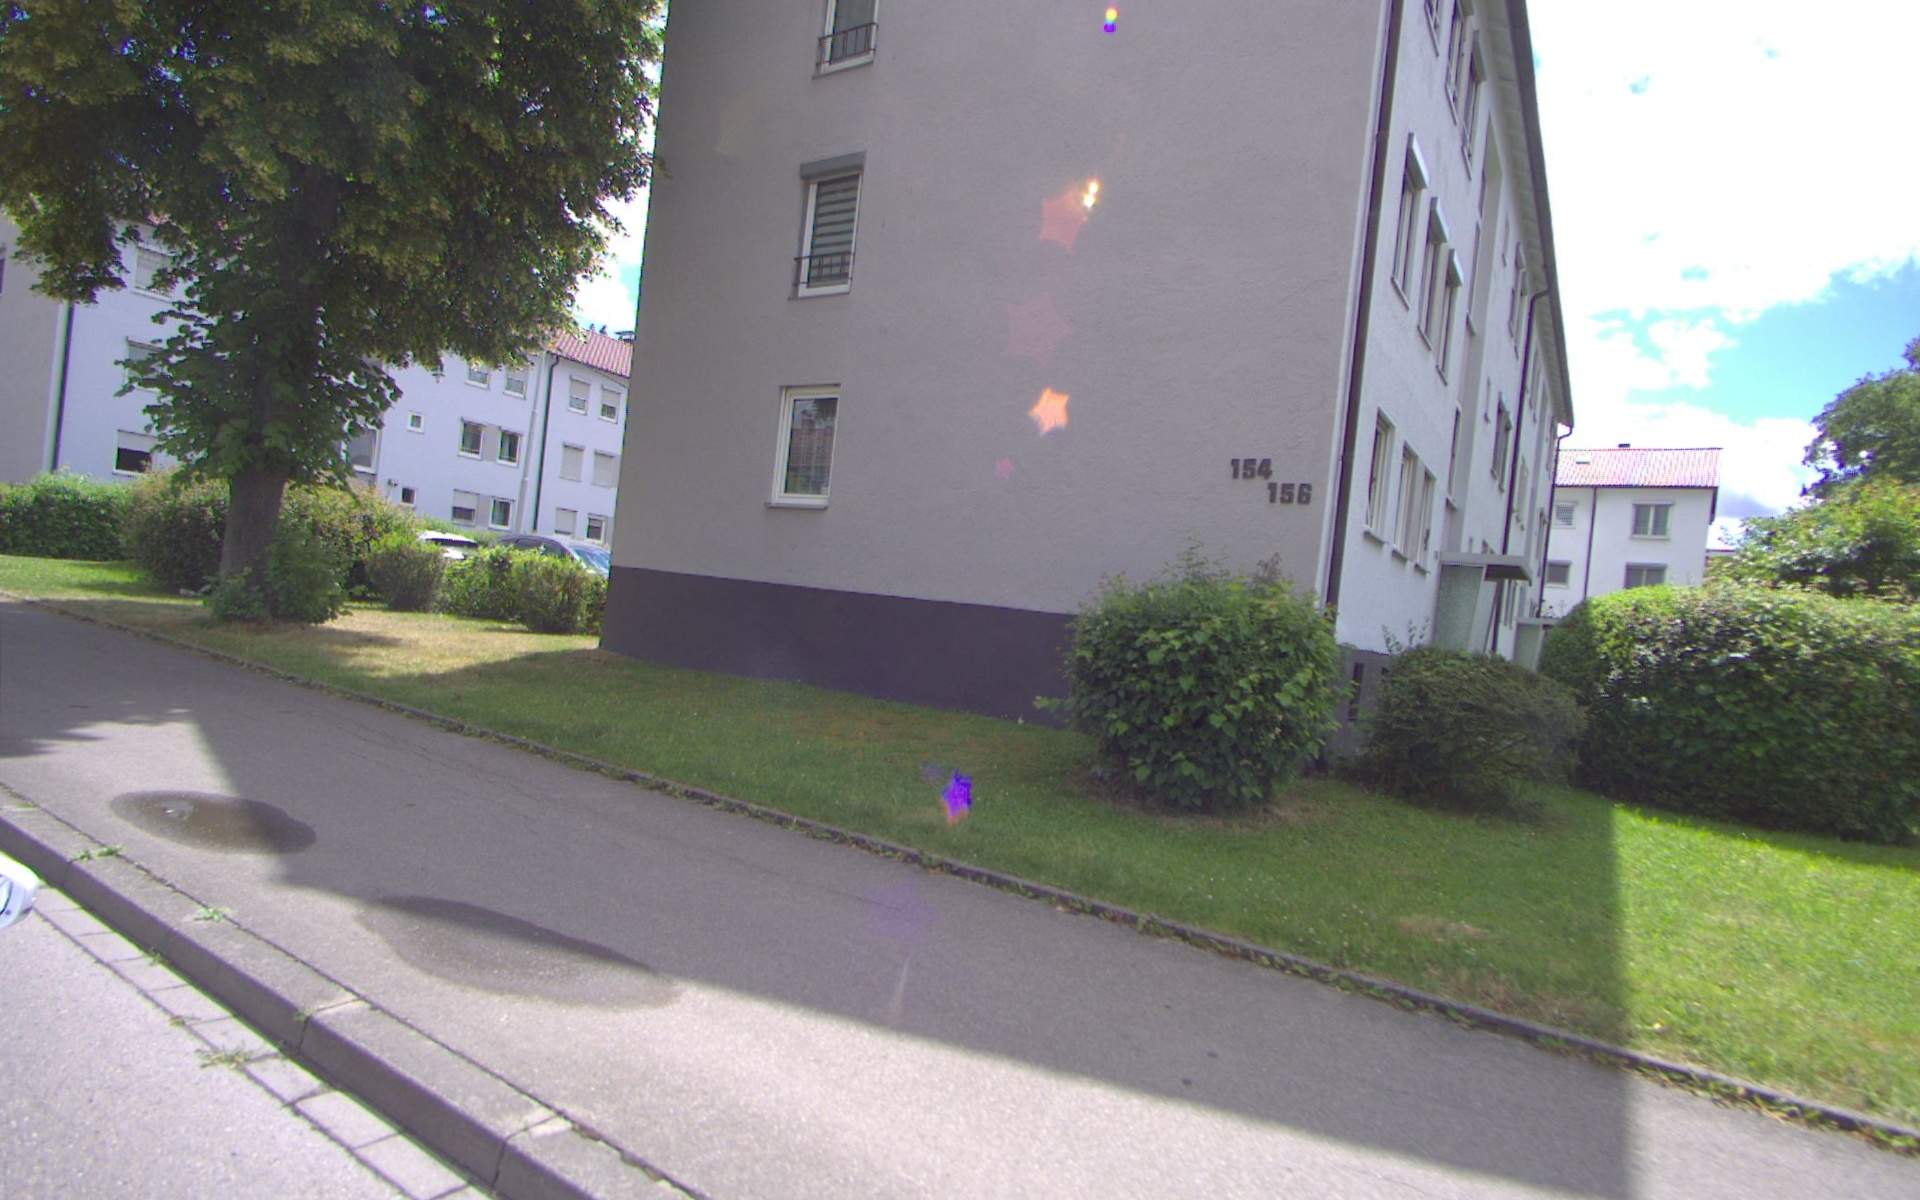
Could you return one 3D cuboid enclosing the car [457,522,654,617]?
[{"bbox_3d":[-8.097,-0.625,20.080,3.680,1.432,1.679,6,-2,31],"label":"car"}]
